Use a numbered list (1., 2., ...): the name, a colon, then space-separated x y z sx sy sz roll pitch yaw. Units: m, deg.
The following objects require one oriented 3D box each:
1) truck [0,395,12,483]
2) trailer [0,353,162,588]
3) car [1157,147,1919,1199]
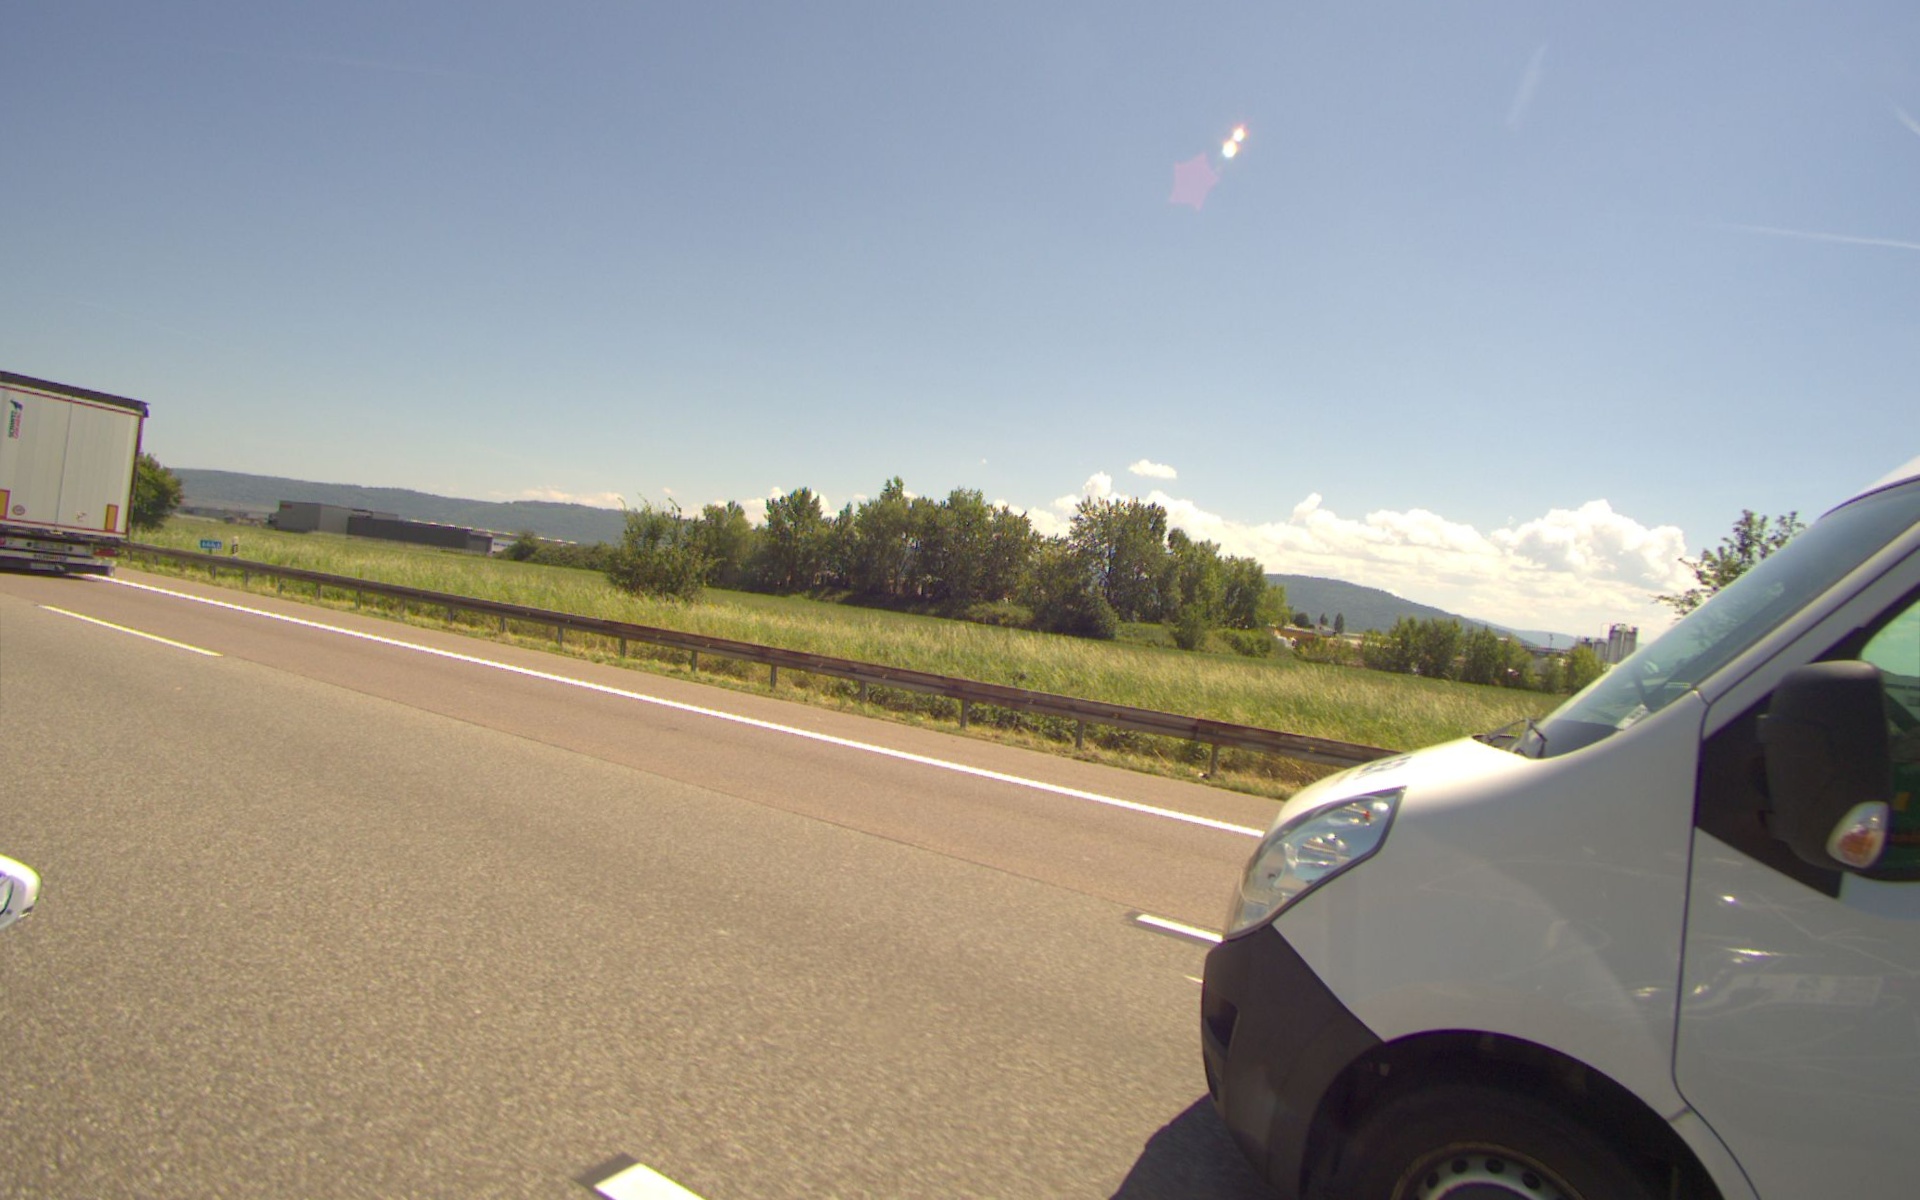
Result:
1. truck: -29.729 -3.812 28.062 7.076 4.354 2.814 6 -1 33
2. trailer: -24.436 -3.215 24.677 14.020 4.354 2.815 6 -2 32
3. car: 3.614 0.722 1.769 5.847 2.537 2.157 6 -2 32
